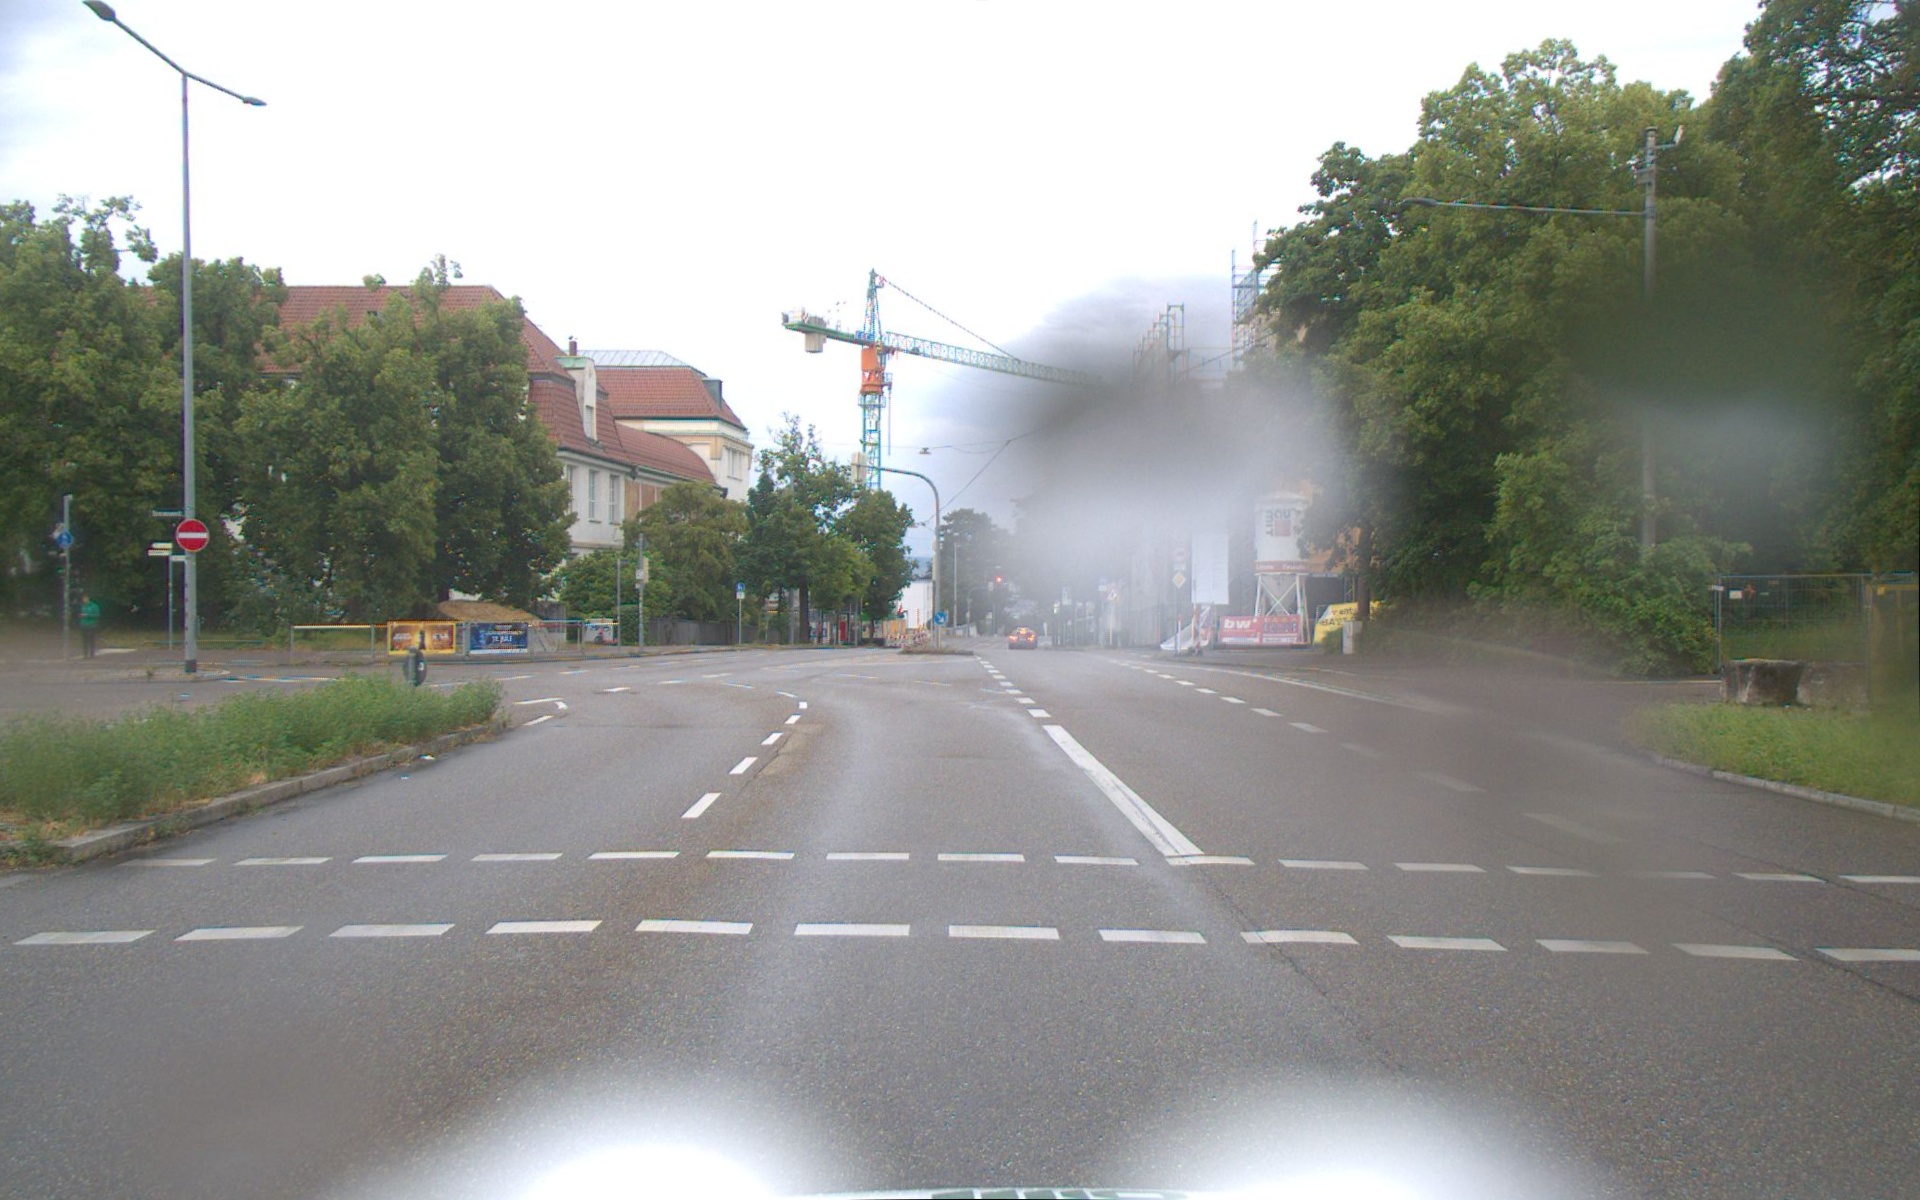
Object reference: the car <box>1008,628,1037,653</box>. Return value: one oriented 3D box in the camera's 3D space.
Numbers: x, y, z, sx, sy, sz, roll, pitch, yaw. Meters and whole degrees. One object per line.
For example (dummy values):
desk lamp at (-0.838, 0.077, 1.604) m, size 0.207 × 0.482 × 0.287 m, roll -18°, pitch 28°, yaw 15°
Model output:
car at (4.685, 3.071, 125.097) m, size 1.953 × 1.780 × 3.999 m, roll -1°, pitch 0°, yaw -1°

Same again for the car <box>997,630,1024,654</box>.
car at (4.031, 3.319, 131.846) m, size 1.953 × 1.780 × 3.999 m, roll -1°, pitch 0°, yaw -1°

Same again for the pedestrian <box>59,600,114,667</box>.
pedestrian at (-23.159, 0.886, 43.872) m, size 0.903 × 1.757 × 0.946 m, roll 1°, pitch 0°, yaw 3°

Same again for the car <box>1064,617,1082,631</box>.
car at (14.947, 3.114, 219.516) m, size 1.951 × 1.780 × 4.003 m, roll -1°, pitch 0°, yaw 10°

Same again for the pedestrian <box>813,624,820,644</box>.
pedestrian at (-9.935, 2.366, 114.626) m, size 0.465 × 1.421 × 0.411 m, roll 0°, pitch 0°, yaw -1°

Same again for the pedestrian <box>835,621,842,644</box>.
pedestrian at (-8.883, 2.347, 120.842) m, size 0.484 × 1.674 × 0.533 m, roll 1°, pitch -1°, yaw -7°

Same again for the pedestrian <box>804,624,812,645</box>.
pedestrian at (-10.541, 2.377, 114.642) m, size 0.465 × 1.421 × 0.411 m, roll 0°, pitch 0°, yaw -1°

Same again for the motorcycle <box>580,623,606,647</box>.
motorcycle at (-14.327, 1.353, 64.602) m, size 0.832 × 0.893 × 0.877 m, roll 1°, pitch 0°, yaw -1°
